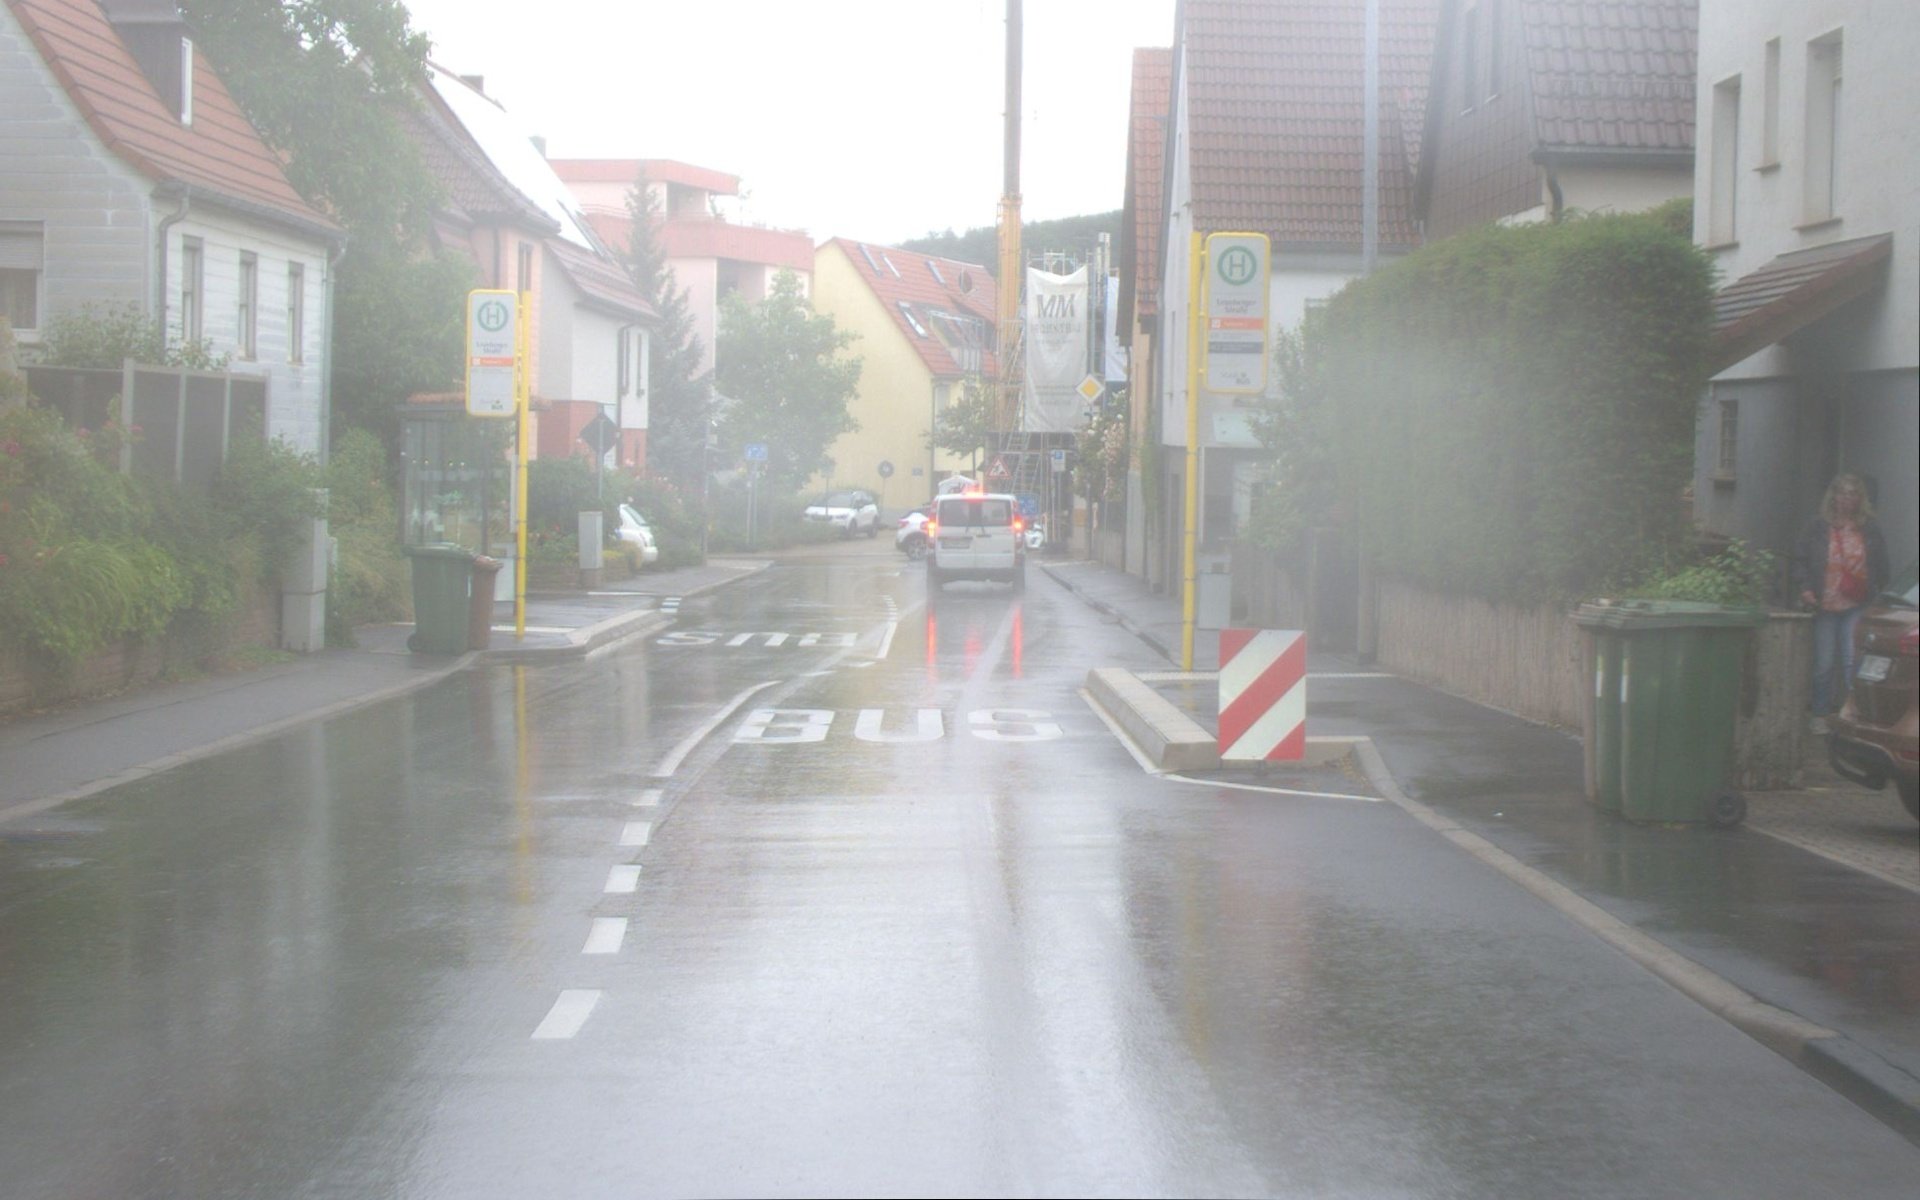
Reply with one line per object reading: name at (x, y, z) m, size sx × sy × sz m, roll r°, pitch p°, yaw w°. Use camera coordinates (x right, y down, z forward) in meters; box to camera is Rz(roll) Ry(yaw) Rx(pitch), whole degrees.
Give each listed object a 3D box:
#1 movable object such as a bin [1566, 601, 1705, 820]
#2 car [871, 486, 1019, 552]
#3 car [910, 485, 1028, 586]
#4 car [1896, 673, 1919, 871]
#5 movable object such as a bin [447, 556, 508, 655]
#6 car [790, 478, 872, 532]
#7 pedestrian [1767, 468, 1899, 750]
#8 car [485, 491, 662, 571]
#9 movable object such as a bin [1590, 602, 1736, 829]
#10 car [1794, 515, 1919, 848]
movable object such as a bin at (3.424, 0.555, 17.452) m, size 0.567 × 1.073 × 0.538 m, roll 1°, pitch 2°, yaw -2°
car at (-0.405, -2.291, 97.200) m, size 3.988 × 1.787 × 1.804 m, roll 1°, pitch 1°, yaw 7°
car at (0.160, -1.238, 65.919) m, size 2.181 × 1.863 × 4.000 m, roll 1°, pitch 1°, yaw 0°
car at (5.736, 0.598, 13.655) m, size 3.445 × 1.476 × 1.580 m, roll 7°, pitch 2°, yaw 0°
movable object such as a bin at (-4.847, 0.055, 34.545) m, size 0.468 × 0.935 × 0.454 m, roll 5°, pitch 4°, yaw 2°
car at (-4.324, -3.214, 115.480) m, size 1.601 × 1.672 × 3.936 m, roll 3°, pitch 3°, yaw 15°
pedestrian at (5.420, 0.050, 21.370) m, size 0.628 × 1.720 × 0.619 m, roll 1°, pitch 1°, yaw 0°
car at (-8.363, -1.507, 74.496) m, size 3.545 × 1.524 × 1.663 m, roll 3°, pitch 1°, yaw 1°
movable object such as a bin at (3.444, 0.559, 16.869) m, size 0.567 × 1.073 × 0.538 m, roll 1°, pitch 2°, yaw -2°
car at (5.916, 0.343, 16.413) m, size 3.477 × 1.504 × 1.581 m, roll 0°, pitch 2°, yaw 0°
